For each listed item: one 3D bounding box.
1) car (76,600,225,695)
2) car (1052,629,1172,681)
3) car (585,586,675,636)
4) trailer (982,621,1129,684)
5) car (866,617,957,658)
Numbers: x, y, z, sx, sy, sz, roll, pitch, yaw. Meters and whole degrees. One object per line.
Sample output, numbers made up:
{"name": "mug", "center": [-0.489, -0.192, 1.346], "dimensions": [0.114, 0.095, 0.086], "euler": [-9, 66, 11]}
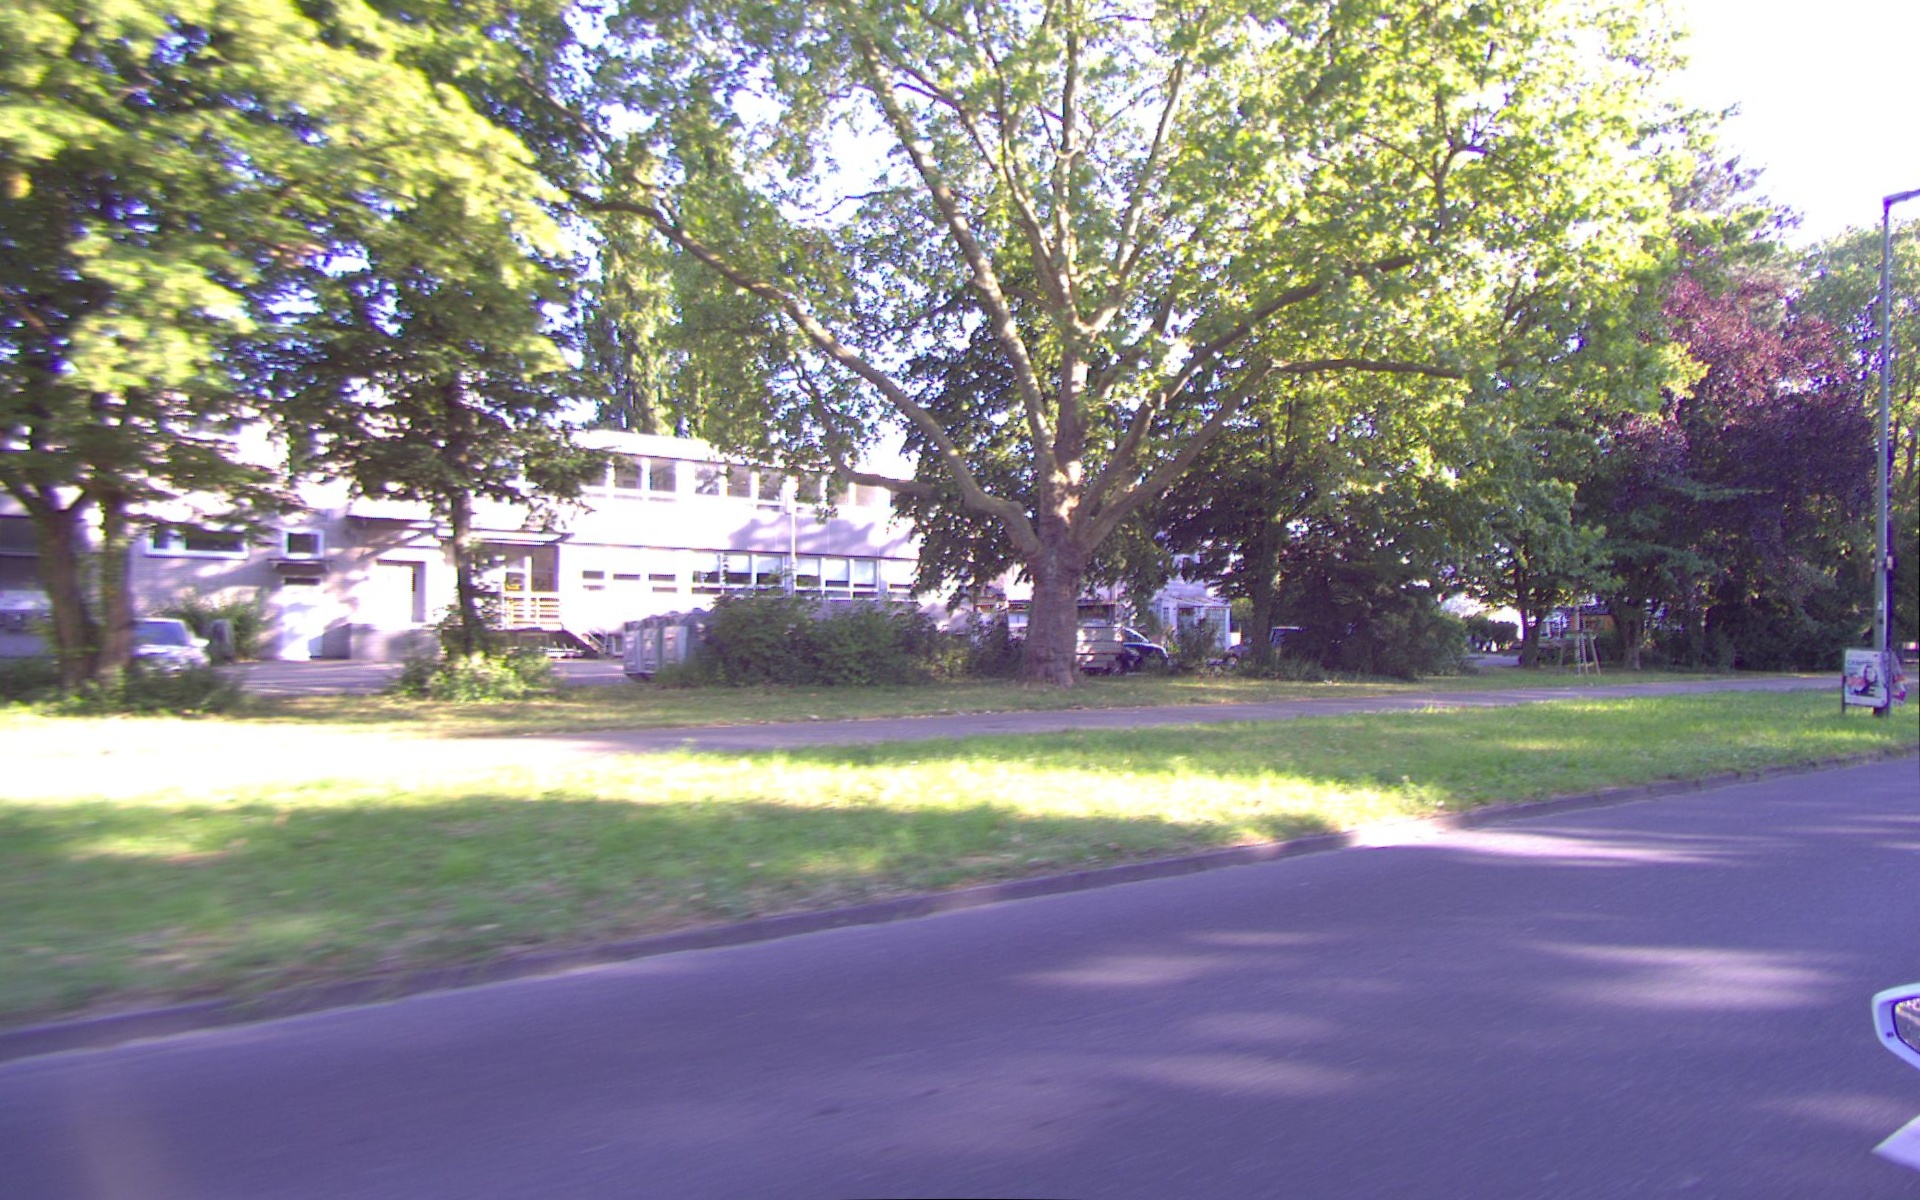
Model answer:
{"name": "car", "center": [-14.230, 0.903, 17.841], "dimensions": [1.749, 1.483, 3.707], "euler": [2, -5, -35]}
{"name": "car", "center": [4.326, 1.555, 28.953], "dimensions": [1.505, 1.382, 3.364], "euler": [3, -3, -36]}
{"name": "car", "center": [-11.749, 0.419, 35.622], "dimensions": [1.912, 1.622, 3.959], "euler": [2, -2, -36]}
{"name": "trailer", "center": [2.538, 1.384, 27.404], "dimensions": [1.979, 1.576, 3.964], "euler": [2, -2, -33]}
{"name": "car", "center": [-2.059, 1.534, 41.570], "dimensions": [1.912, 1.622, 3.959], "euler": [2, -2, -36]}
